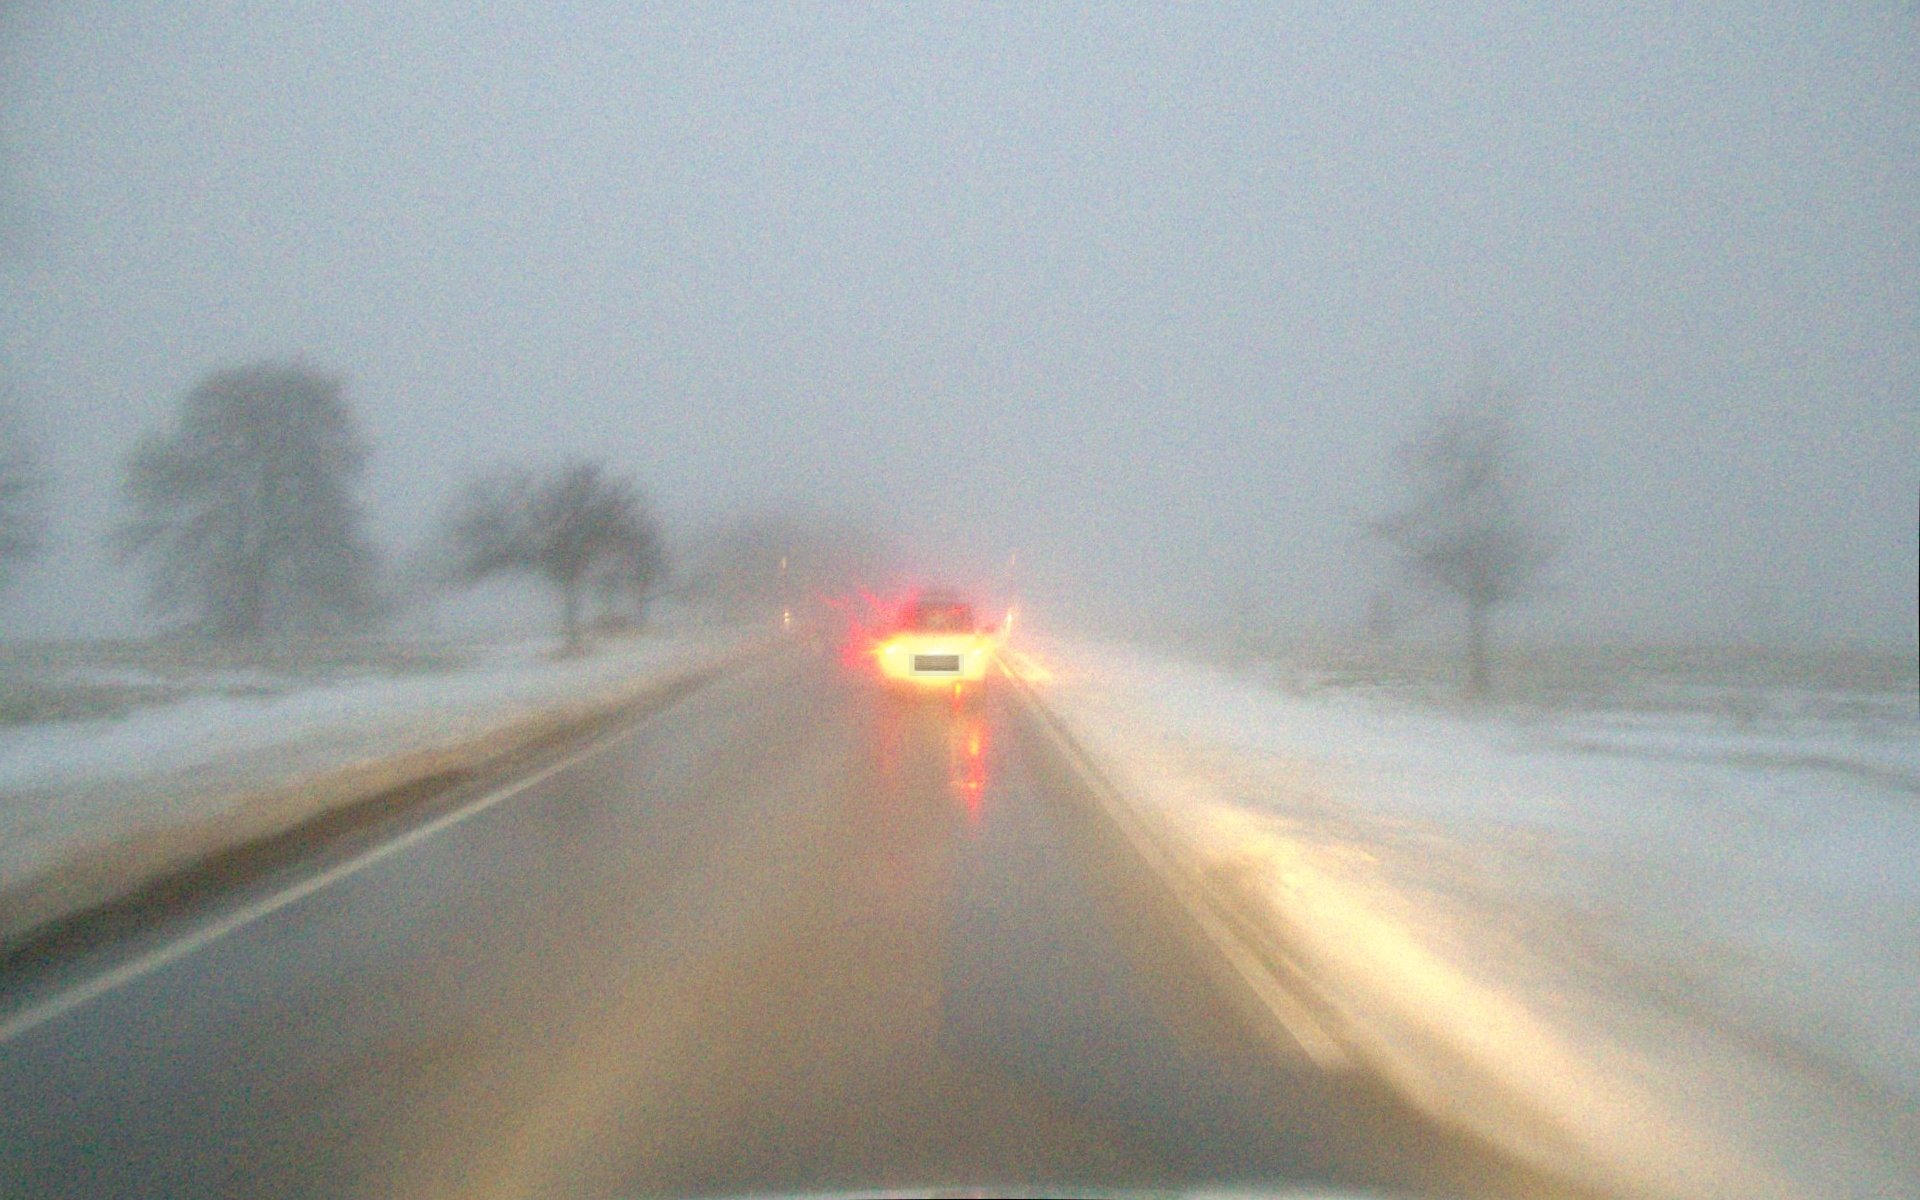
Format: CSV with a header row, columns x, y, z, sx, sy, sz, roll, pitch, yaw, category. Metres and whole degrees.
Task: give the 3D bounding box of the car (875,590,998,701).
x,y,z,sx,sy,sz,roll,pitch,yaw,category
-0.350,0.651,25.211,1.672,1.489,3.999,2,0,-1,car
